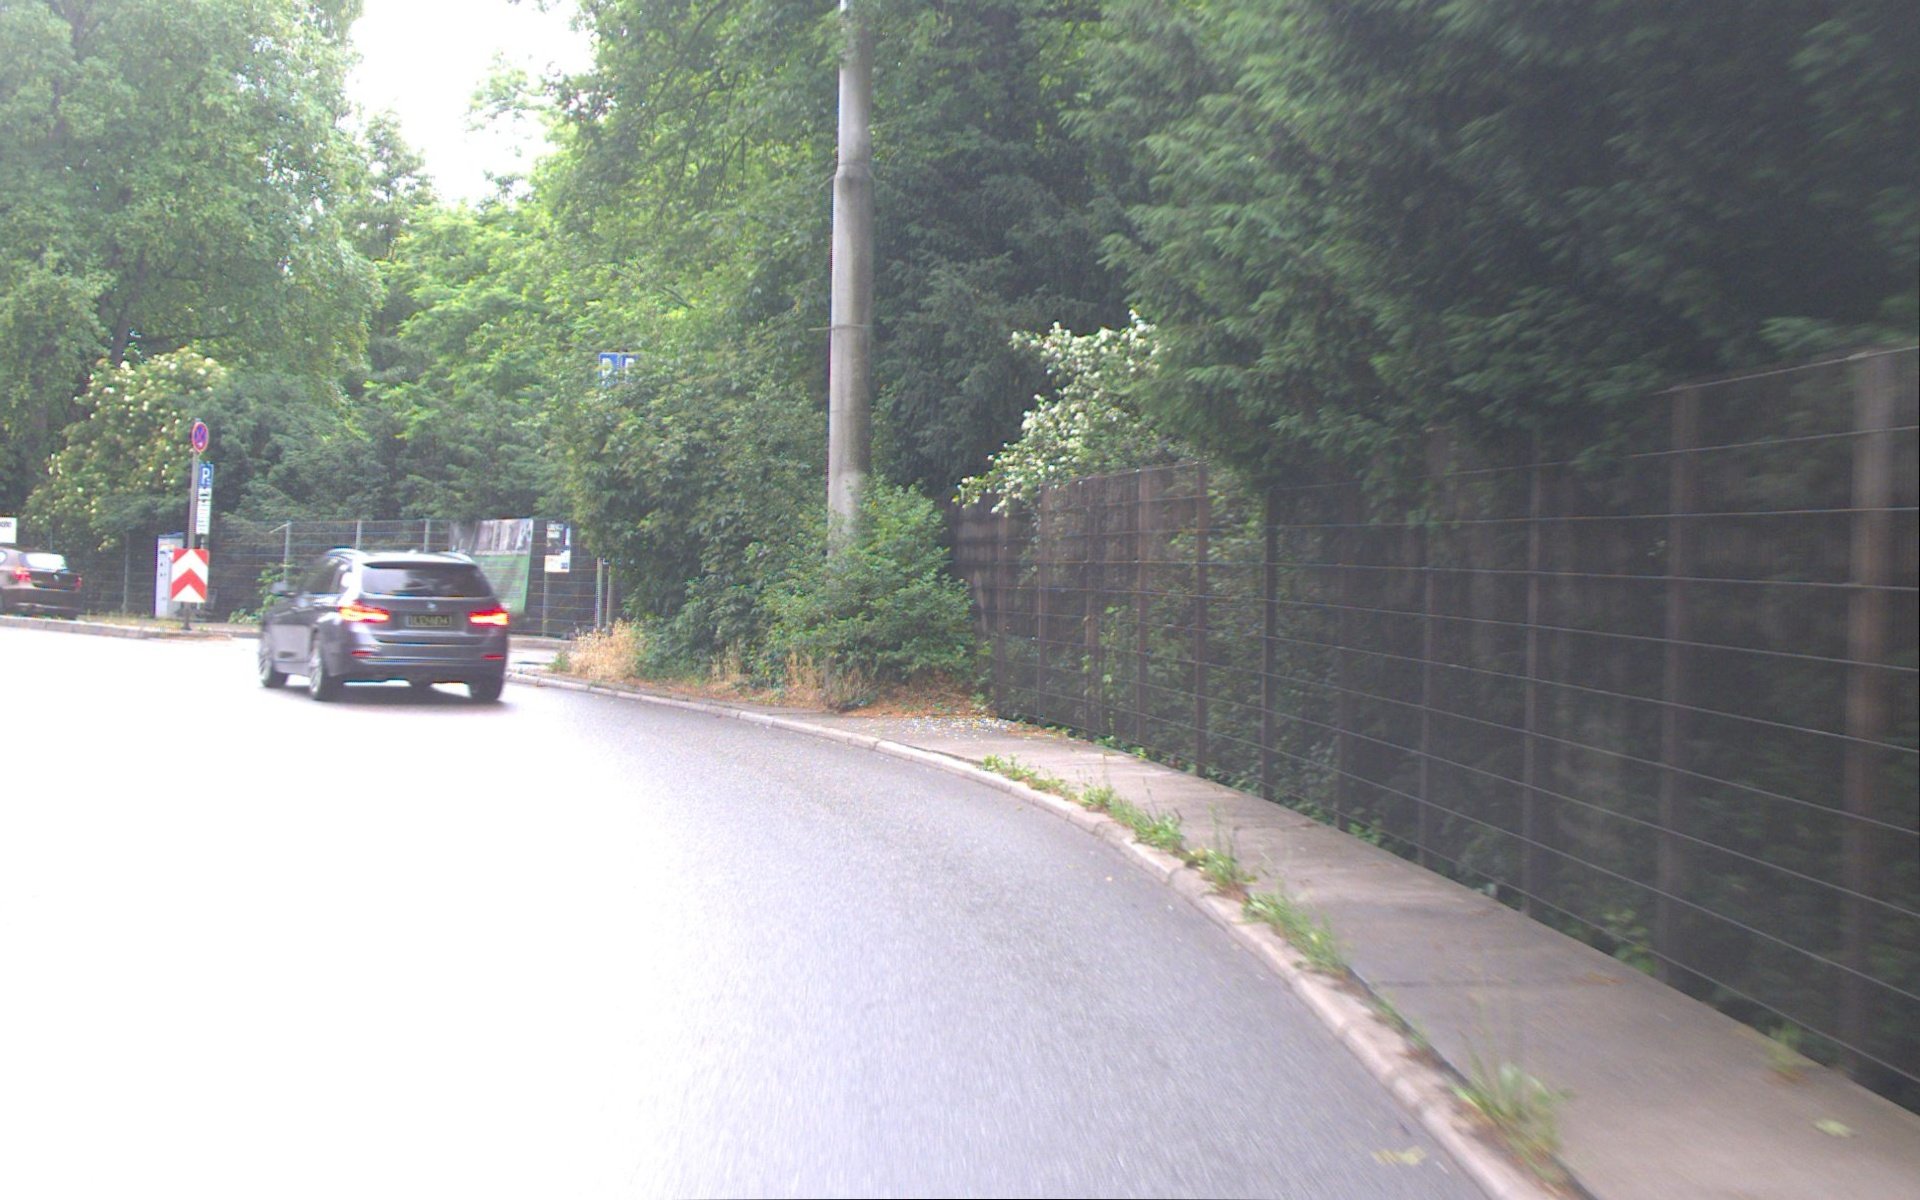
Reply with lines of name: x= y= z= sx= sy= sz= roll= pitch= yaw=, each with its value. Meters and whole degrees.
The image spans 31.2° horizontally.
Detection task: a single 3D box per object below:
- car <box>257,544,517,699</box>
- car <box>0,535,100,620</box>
car: x=-5.734 y=0.166 z=33.990 sx=1.757 sy=1.427 sz=4.414 roll=0 pitch=1 yaw=-20
car: x=-18.188 y=-0.484 z=64.607 sx=4.368 sy=1.422 sz=1.688 roll=3 pitch=-2 yaw=42
